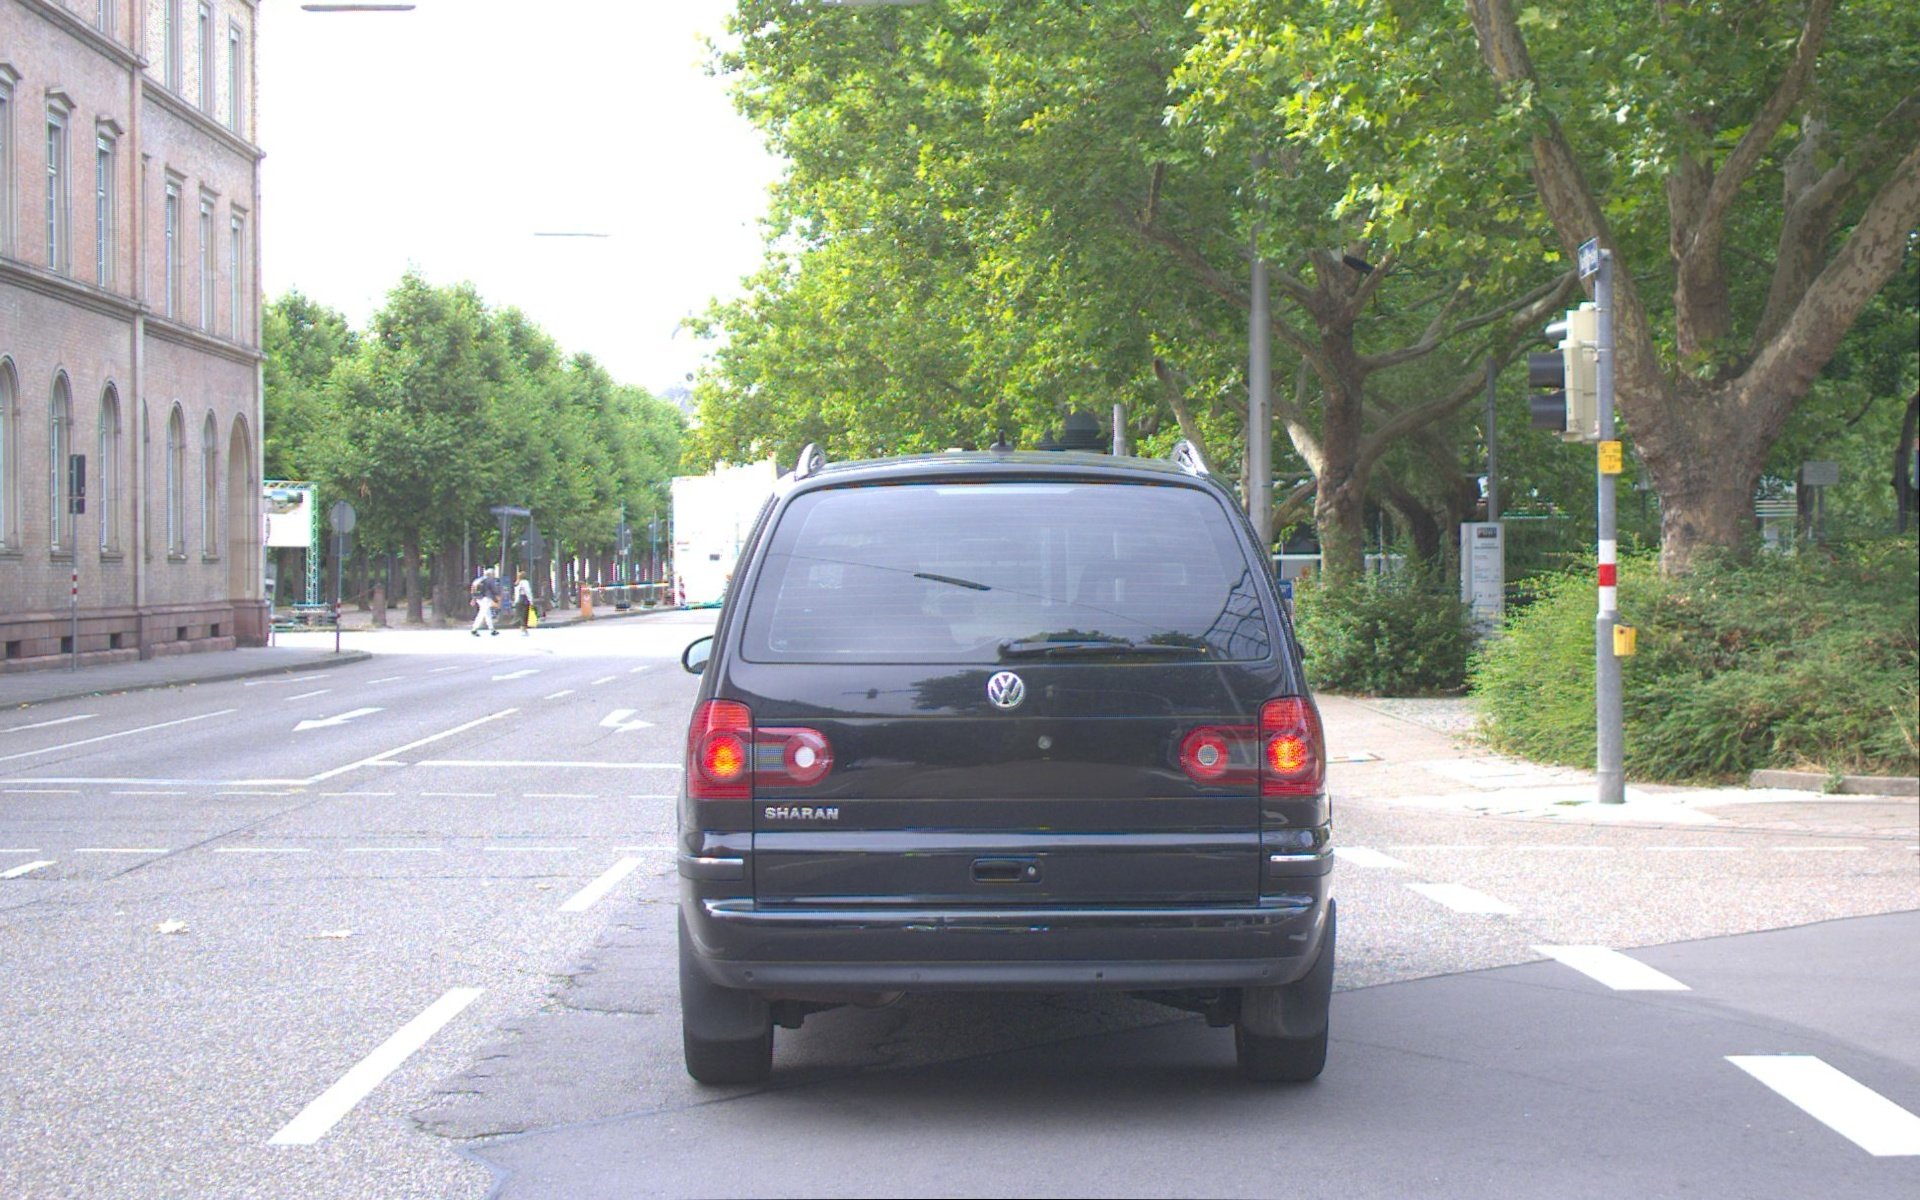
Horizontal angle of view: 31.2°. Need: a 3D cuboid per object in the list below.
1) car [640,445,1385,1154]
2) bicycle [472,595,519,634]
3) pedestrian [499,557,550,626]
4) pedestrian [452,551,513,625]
[{"bbox_3d":[0.087,0.455,10.404,1.793,1.702,4.131,0,1,-1],"label":"car"},{"bbox_3d":[-14.133,0.444,104.593,0.952,1.106,2.580,1,1,-18],"label":"bicycle"},{"bbox_3d":[-10.427,-0.202,82.362,0.897,1.636,0.852,2,1,18],"label":"pedestrian"},{"bbox_3d":[-11.514,-0.288,82.934,0.961,1.735,1.255,2,1,18],"label":"pedestrian"}]
